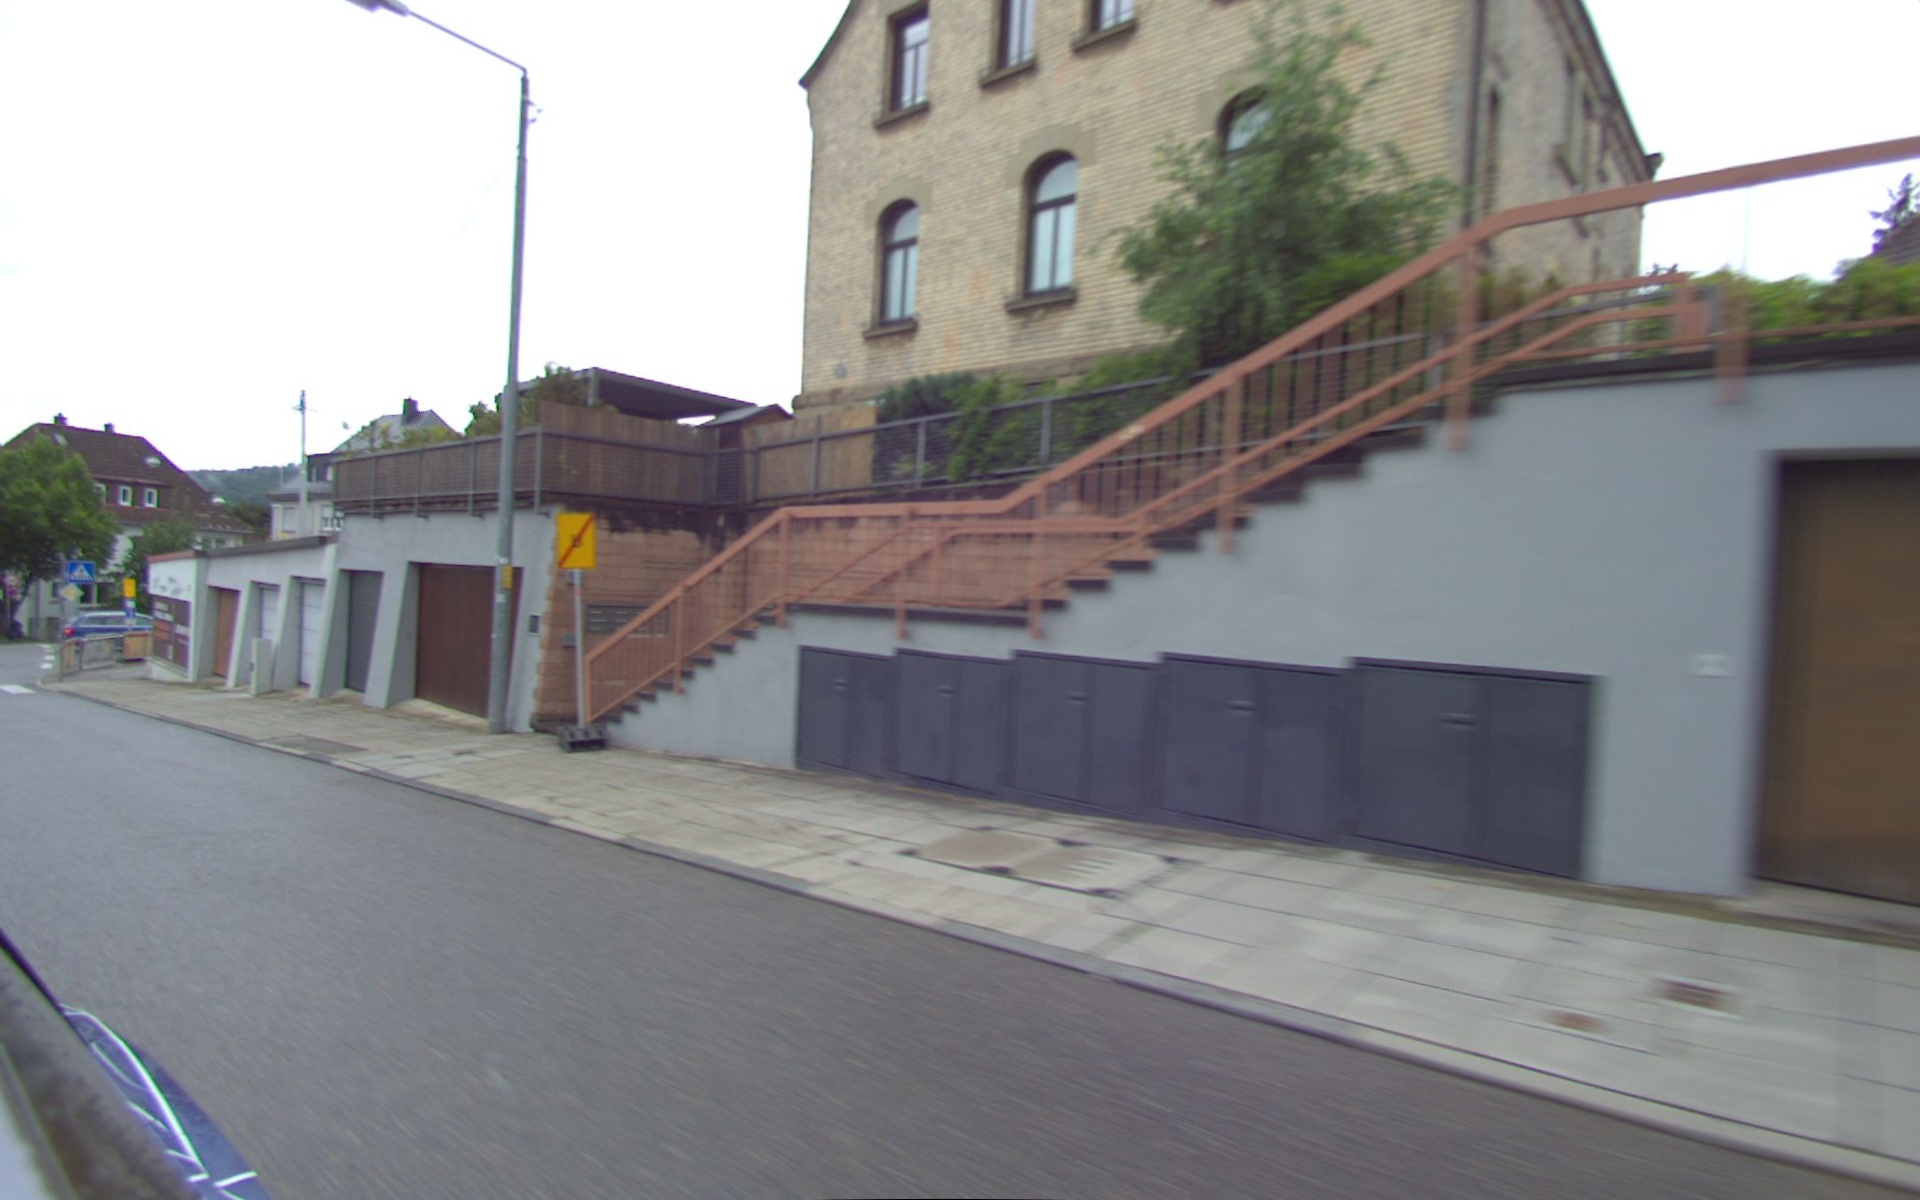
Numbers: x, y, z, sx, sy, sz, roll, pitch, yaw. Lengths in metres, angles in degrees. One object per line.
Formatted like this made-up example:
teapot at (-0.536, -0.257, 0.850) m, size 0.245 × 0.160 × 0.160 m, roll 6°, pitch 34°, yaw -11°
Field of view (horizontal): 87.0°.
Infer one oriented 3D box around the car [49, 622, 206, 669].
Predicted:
car at (-32.243, 1.702, 39.282) m, size 1.998 × 1.497 × 4.428 m, roll 3°, pitch 3°, yaw 39°
